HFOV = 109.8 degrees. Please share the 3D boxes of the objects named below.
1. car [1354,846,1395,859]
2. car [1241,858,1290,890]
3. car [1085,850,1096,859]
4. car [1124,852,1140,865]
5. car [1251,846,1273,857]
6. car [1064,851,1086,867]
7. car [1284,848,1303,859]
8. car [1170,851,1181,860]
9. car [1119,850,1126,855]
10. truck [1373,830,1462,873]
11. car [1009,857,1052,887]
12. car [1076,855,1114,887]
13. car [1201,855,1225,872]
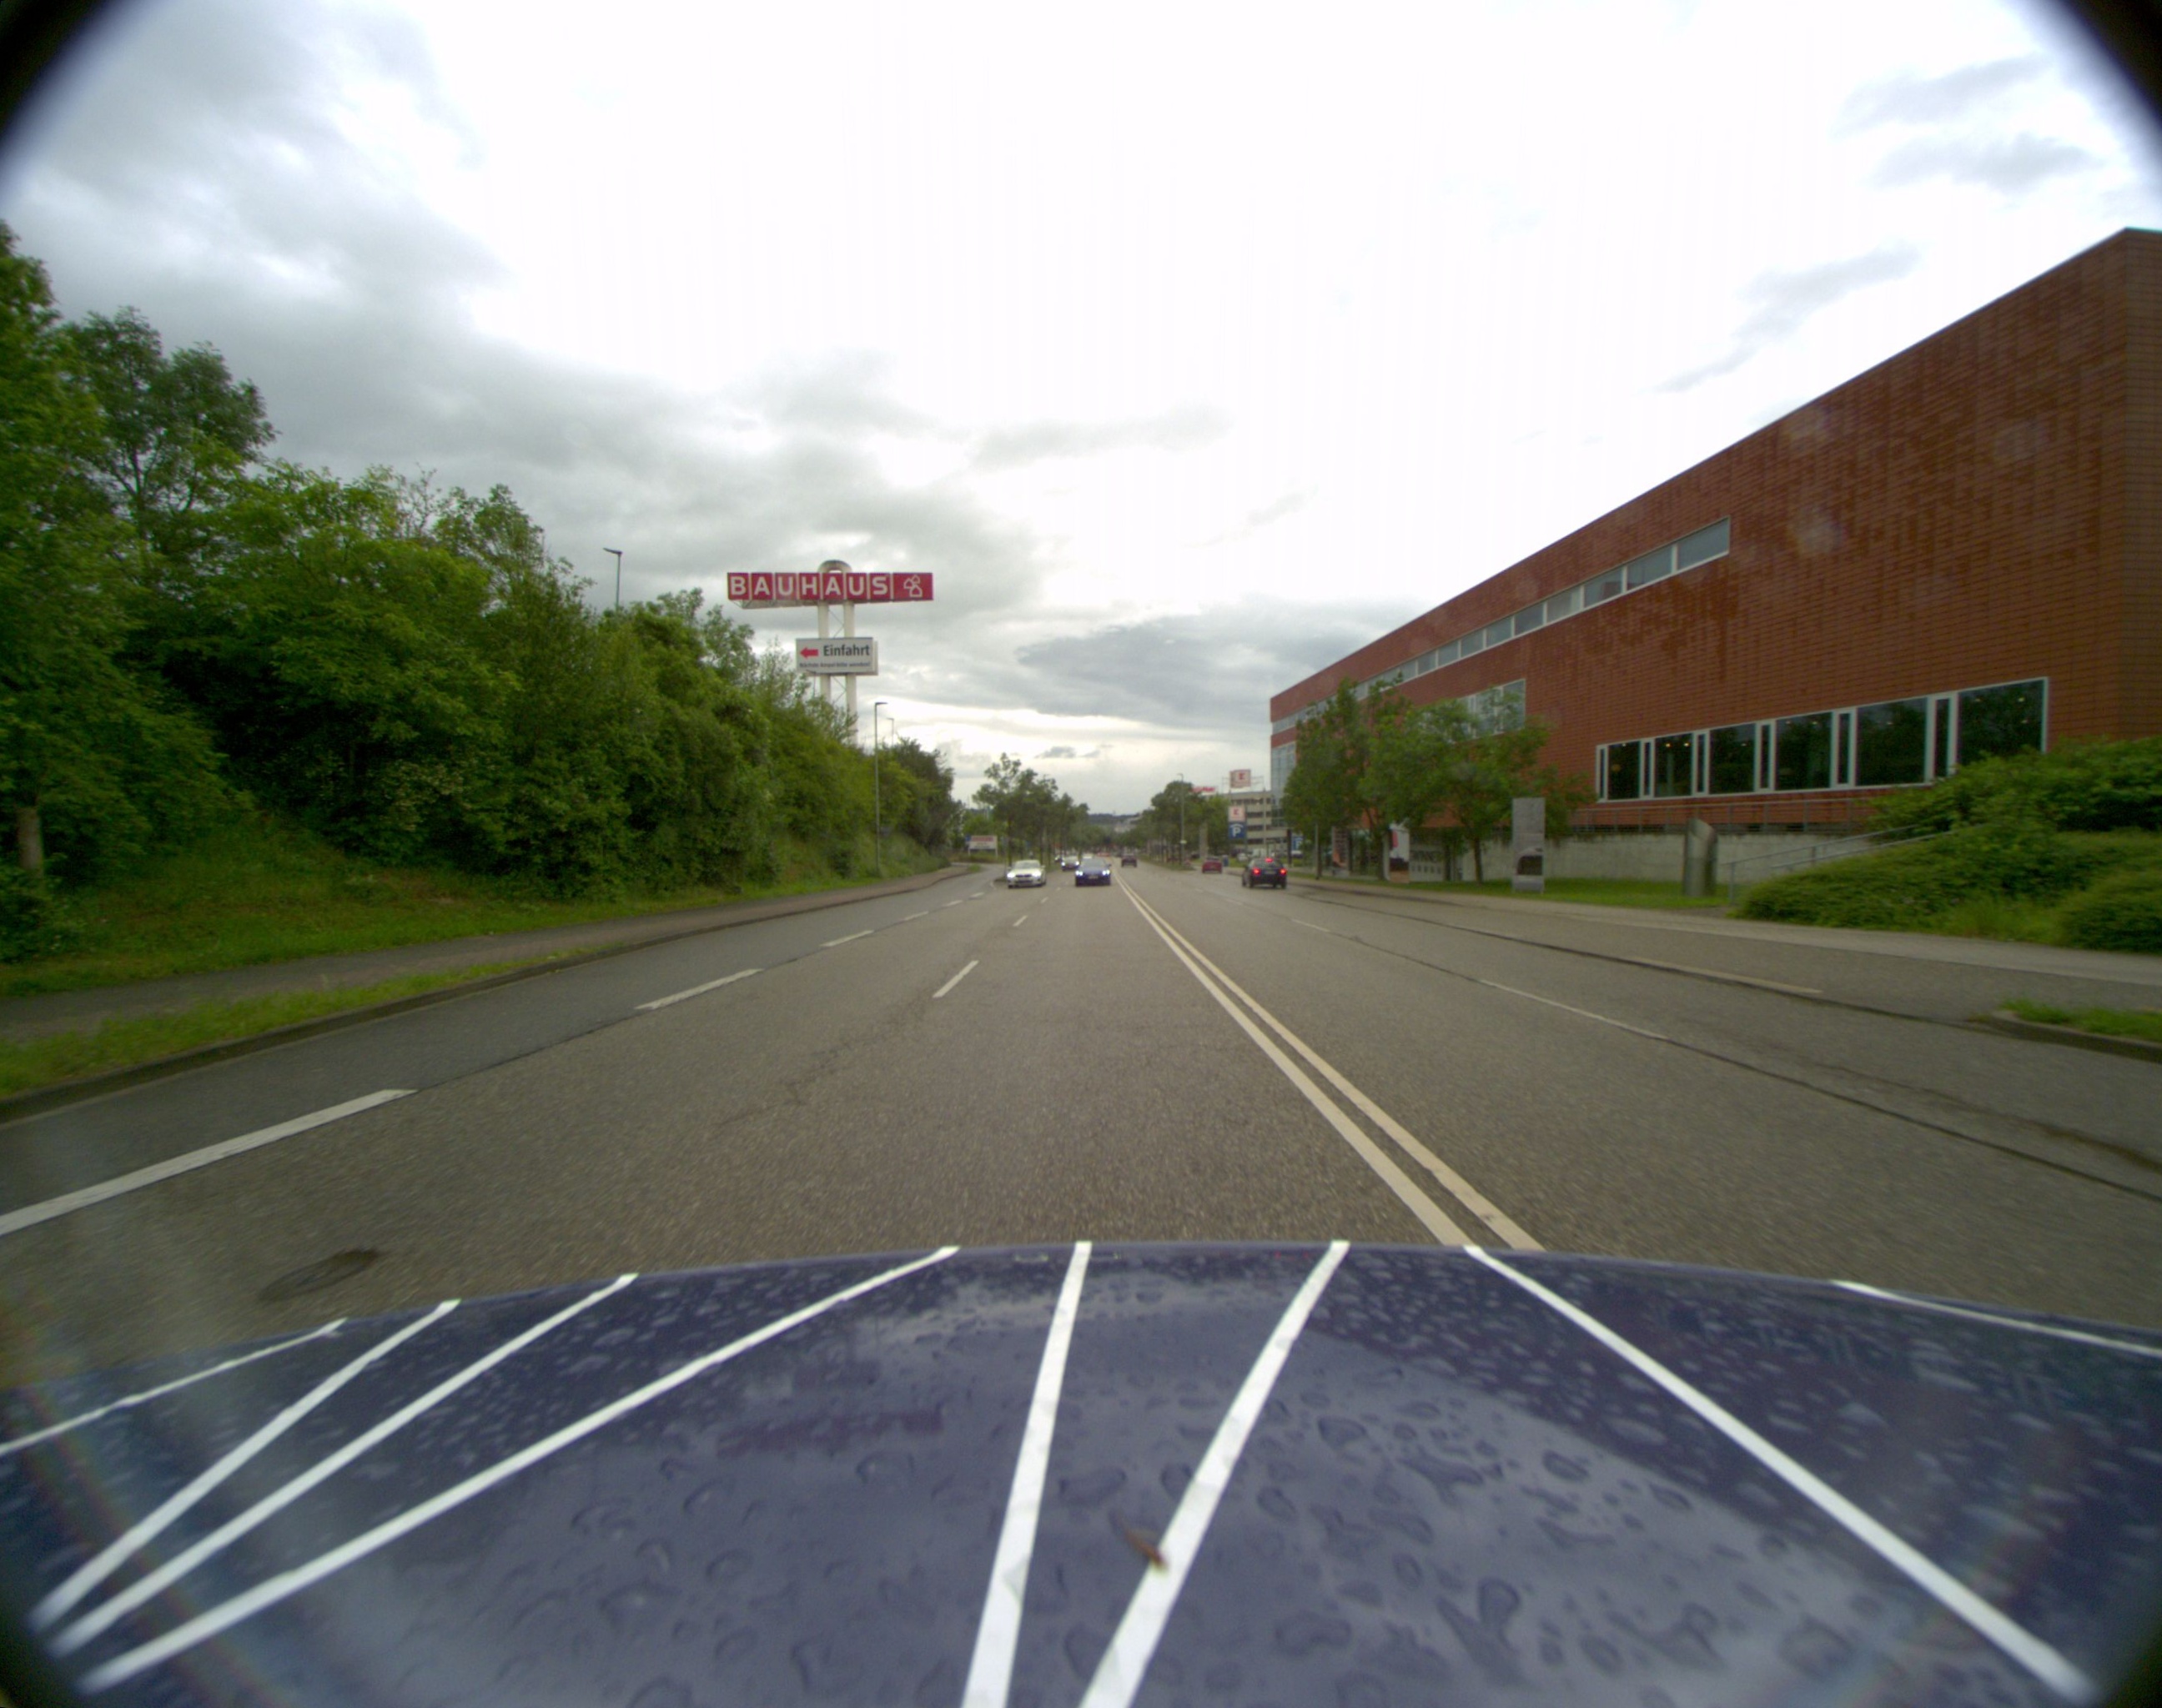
[{"bbox_3d":[36.359,-0.178,94.239,4.436,1.608,1.834,-1,1,-1],"label":"car"},{"bbox_3d":[9.205,0.948,38.140,1.740,1.445,4.001,1,0,4],"label":"car"},{"bbox_3d":[1.865,0.085,149.704,1.853,1.565,3.998,-2,2,-2],"label":"car"},{"bbox_3d":[6.329,0.594,94.810,1.863,1.568,4.321,0,0,2],"label":"car"},{"bbox_3d":[26.414,-0.401,111.019,1.834,1.608,4.436,-1,0,-6],"label":"car"},{"bbox_3d":[-0.560,0.517,79.838,2.114,1.610,4.840,-1,0,1],"label":"car"},{"bbox_3d":[26.581,-0.084,95.208,1.509,1.276,3.450,-2,1,2],"label":"car"},{"bbox_3d":[17.437,0.310,140.526,1.832,1.608,4.002,-2,0,7],"label":"car"},{"bbox_3d":[13.811,-0.584,254.991,2.114,1.610,4.840,1,0,1],"label":"car"},{"bbox_3d":[26.334,-0.233,59.608,6.152,3.289,2.023,0,2,-4],"label":"truck"},{"bbox_3d":[-2.716,0.936,41.838,1.863,1.473,4.001,-1,0,3],"label":"car"},{"bbox_3d":[0.732,0.830,39.840,1.827,1.473,4.840,-2,0,1],"label":"car"},{"bbox_3d":[11.964,0.818,69.125,1.680,1.497,4.217,0,0,4],"label":"car"}]
